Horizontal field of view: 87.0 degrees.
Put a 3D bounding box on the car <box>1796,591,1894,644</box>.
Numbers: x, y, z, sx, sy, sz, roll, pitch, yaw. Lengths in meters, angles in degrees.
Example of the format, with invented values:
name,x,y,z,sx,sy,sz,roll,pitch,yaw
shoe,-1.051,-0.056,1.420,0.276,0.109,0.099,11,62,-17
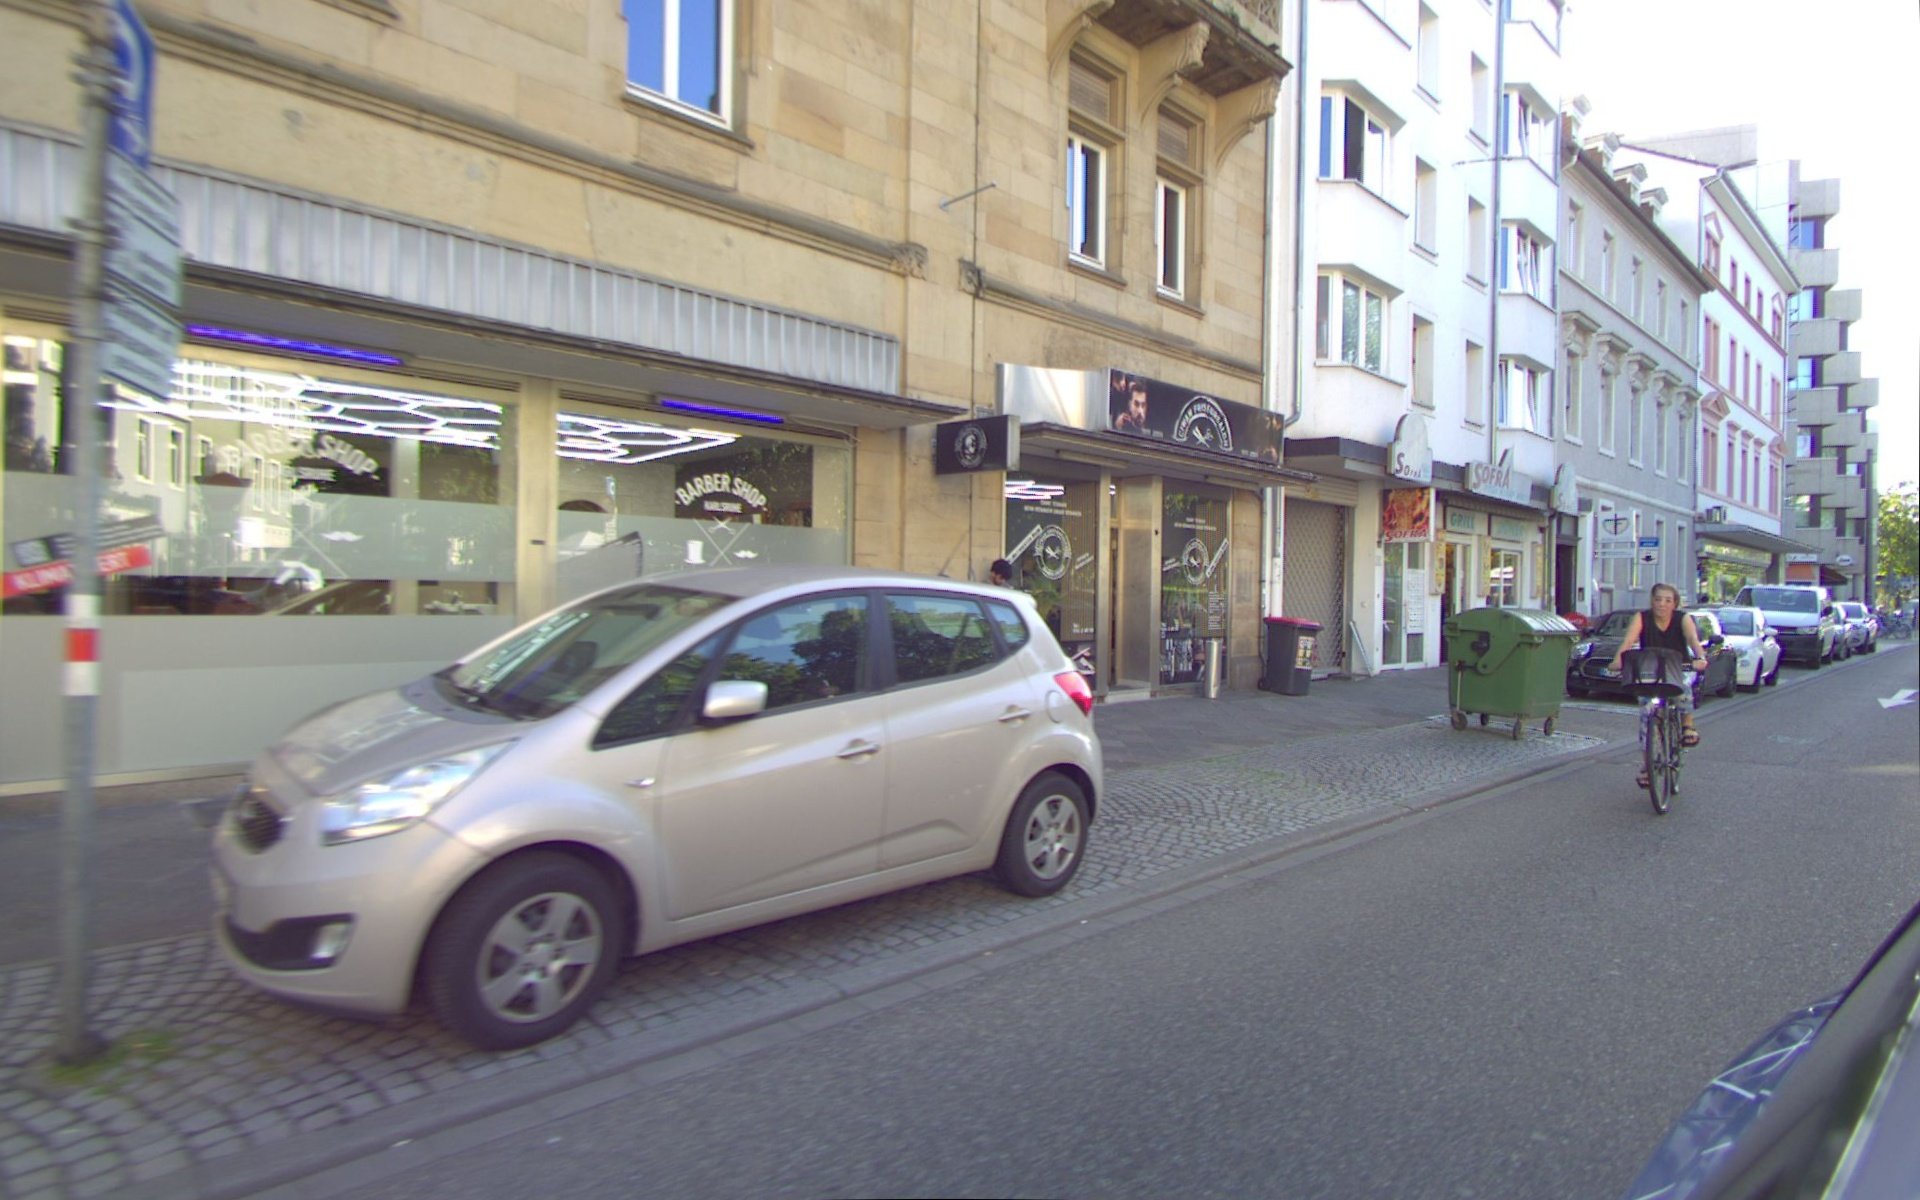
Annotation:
name,x,y,z,sx,sy,sz,roll,pitch,yaw
car,28.020,0.500,32.008,3.890,1.470,1.996,0,3,-44

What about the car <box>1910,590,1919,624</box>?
name,x,y,z,sx,sy,sz,roll,pitch,yaw
car,58.907,0.392,61.116,3.932,2.039,1.996,0,0,-43

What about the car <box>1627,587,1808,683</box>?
name,x,y,z,sx,sy,sz,roll,pitch,yaw
car,14.223,0.560,18.929,3.932,1.509,1.997,0,3,-43

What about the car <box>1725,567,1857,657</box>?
name,x,y,z,sx,sy,sz,roll,pitch,yaw
car,20.854,0.240,25.319,5.018,1.977,1.995,0,3,-45

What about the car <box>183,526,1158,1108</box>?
name,x,y,z,sx,sy,sz,roll,pitch,yaw
car,-1.090,0.536,4.869,4.057,1.593,1.976,0,3,-43

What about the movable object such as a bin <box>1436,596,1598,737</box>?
name,x,y,z,sx,sy,sz,roll,pitch,yaw
movable object such as a bin,6.455,0.709,11.740,1.386,1.439,1.148,0,3,-39

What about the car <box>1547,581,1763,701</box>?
name,x,y,z,sx,sy,sz,roll,pitch,yaw
car,11.200,0.552,16.210,3.932,1.593,1.997,0,3,-43

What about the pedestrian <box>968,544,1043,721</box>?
name,x,y,z,sx,sy,sz,roll,pitch,yaw
pedestrian,0.473,0.320,10.524,0.534,1.764,0.589,0,0,43

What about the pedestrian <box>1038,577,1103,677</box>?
name,x,y,z,sx,sy,sz,roll,pitch,yaw
pedestrian,1.656,0.396,15.282,0.799,1.441,0.696,2,2,-6

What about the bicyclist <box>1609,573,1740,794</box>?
name,x,y,z,sx,sy,sz,roll,pitch,yaw
bicyclist,5.529,0.594,7.828,0.893,1.591,0.657,0,0,-43

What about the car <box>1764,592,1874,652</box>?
name,x,y,z,sx,sy,sz,roll,pitch,yaw
car,24.481,0.566,28.811,3.806,1.470,1.996,0,3,-44

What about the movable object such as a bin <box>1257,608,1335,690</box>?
name,x,y,z,sx,sy,sz,roll,pitch,yaw
movable object such as a bin,4.716,0.682,14.221,0.650,1.061,0.727,3,2,-33

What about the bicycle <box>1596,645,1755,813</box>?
name,x,y,z,sx,sy,sz,roll,pitch,yaw
bicycle,5.616,0.938,7.905,1.805,1.081,0.665,0,0,-43
